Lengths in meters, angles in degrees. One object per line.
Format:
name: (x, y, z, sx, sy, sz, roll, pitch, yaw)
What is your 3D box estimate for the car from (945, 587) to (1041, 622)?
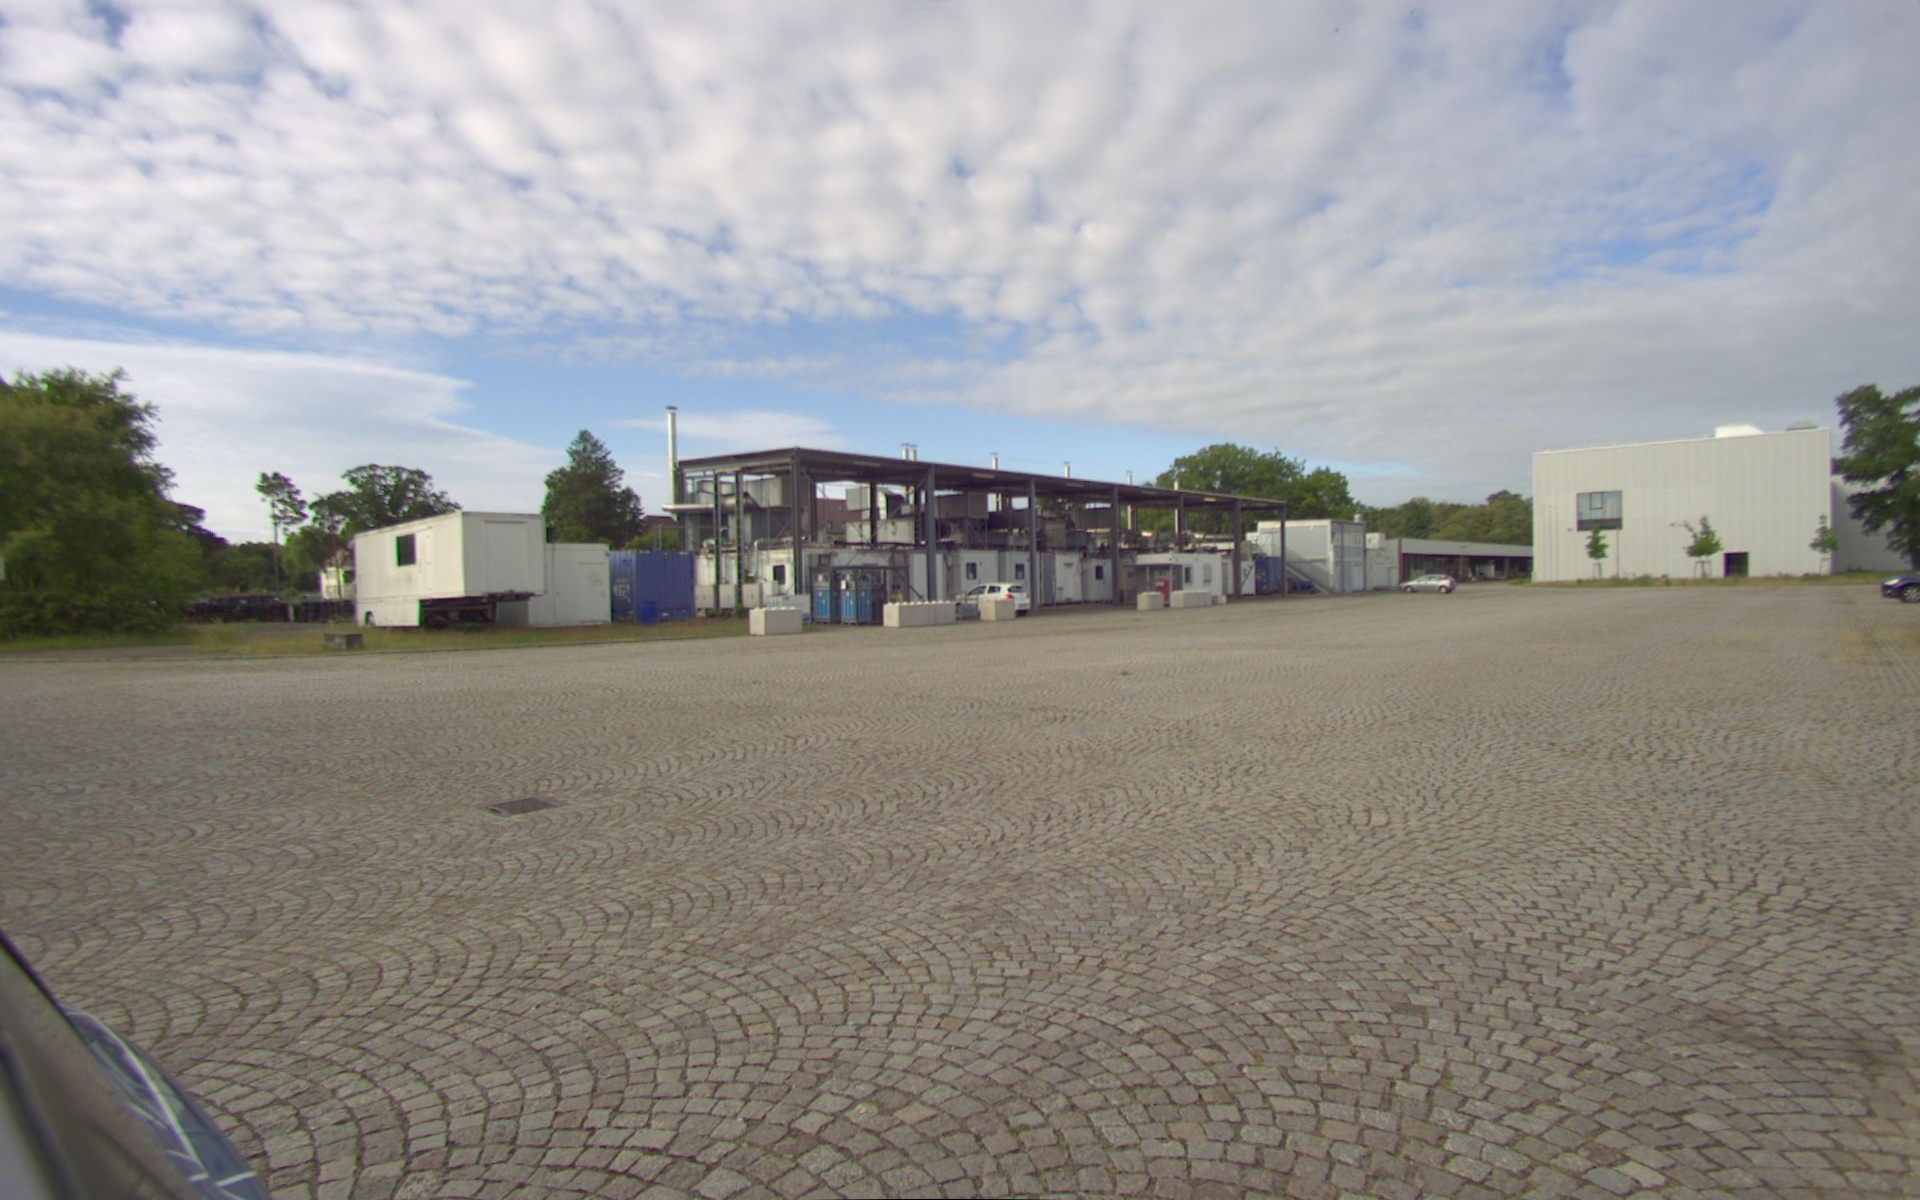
car: (1.445, 0.211, 45.341, 3.996, 1.484, 1.909, 0, -1, 39)

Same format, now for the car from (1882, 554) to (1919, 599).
car: (37.152, -0.875, 37.596, 4.149, 1.657, 1.974, 0, -1, 40)

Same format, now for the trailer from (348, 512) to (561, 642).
trailer: (-17.091, -0.619, 33.641, 10.780, 3.689, 2.837, -1, 0, 44)

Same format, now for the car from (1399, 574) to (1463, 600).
car: (37.964, -1.025, 81.639, 4.304, 1.961, 1.974, -1, 0, 39)
